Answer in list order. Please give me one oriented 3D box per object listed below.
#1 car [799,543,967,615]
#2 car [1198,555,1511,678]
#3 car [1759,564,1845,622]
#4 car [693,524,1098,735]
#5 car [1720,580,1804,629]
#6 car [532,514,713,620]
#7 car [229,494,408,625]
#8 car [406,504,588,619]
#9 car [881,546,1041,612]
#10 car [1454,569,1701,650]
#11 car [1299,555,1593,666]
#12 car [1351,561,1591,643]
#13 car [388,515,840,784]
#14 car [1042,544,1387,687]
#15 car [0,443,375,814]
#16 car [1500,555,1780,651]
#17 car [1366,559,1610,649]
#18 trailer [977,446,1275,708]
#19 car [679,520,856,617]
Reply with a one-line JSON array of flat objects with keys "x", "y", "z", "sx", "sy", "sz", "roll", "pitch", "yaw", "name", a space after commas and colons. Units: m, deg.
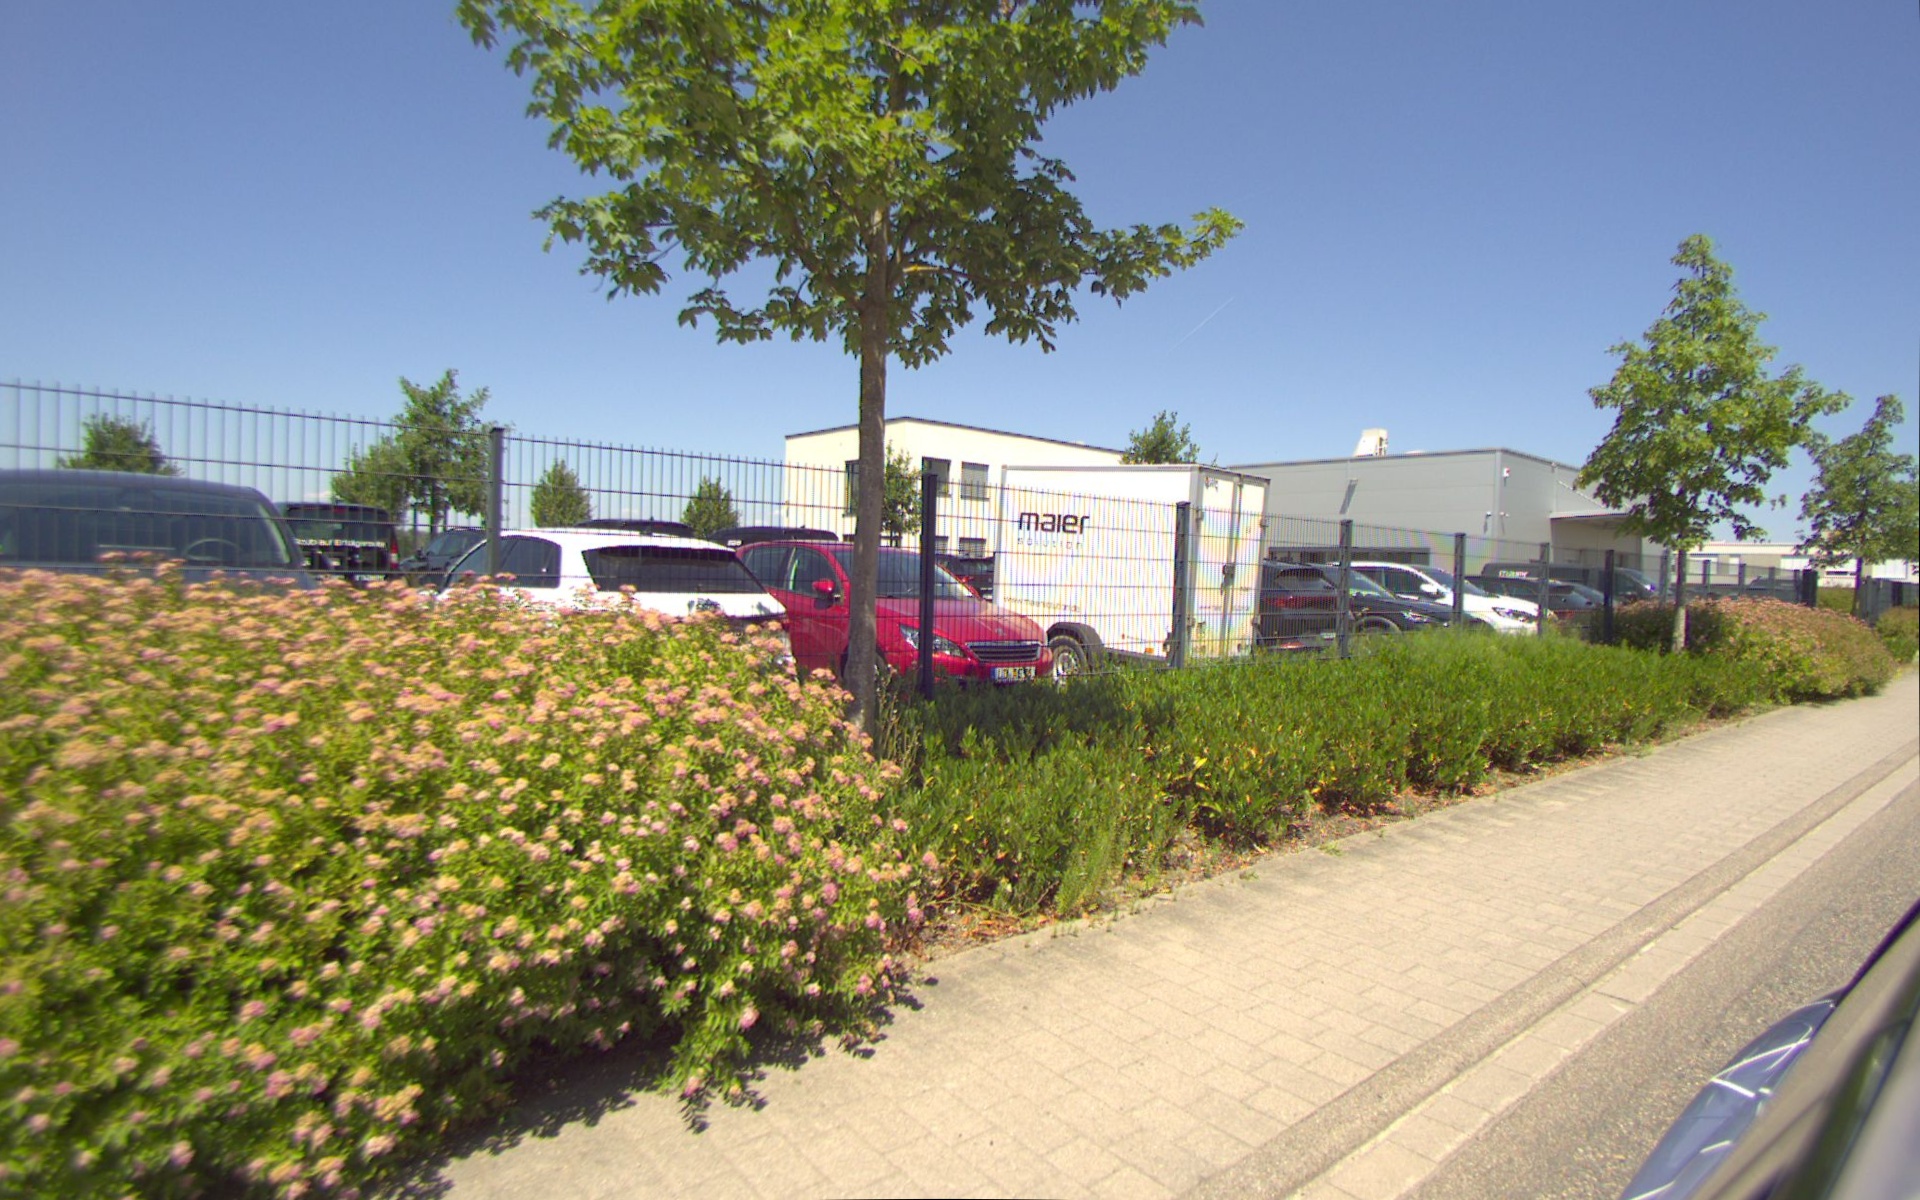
[{"x": -1.804, "y": -0.513, "z": 22.648, "sx": 1.693, "sy": 1.405, "sz": 4.051, "roll": 0, "pitch": 3, "yaw": -40, "name": "car"}, {"x": 5.812, "y": 0.144, "z": 15.298, "sx": 1.713, "sy": 1.509, "sz": 4.051, "roll": 0, "pitch": 3, "yaw": -40, "name": "car"}, {"x": 33.556, "y": -0.268, "z": 40.301, "sx": 4.151, "sy": 2.112, "sz": 1.881, "roll": 0, "pitch": 3, "yaw": -40, "name": "car"}, {"x": -0.788, "y": 0.105, "z": 9.456, "sx": 1.774, "sy": 1.493, "sz": 3.901, "roll": 0, "pitch": 4, "yaw": -40, "name": "car"}, {"x": 28.319, "y": 0.139, "z": 35.699, "sx": 3.811, "sy": 1.575, "sz": 1.546, "roll": 0, "pitch": 2, "yaw": -40, "name": "car"}, {"x": -6.501, "y": -0.672, "z": 19.241, "sx": 1.885, "sy": 1.785, "sz": 4.050, "roll": 0, "pitch": 3, "yaw": -40, "name": "car"}, {"x": -10.354, "y": -0.675, "z": 16.201, "sx": 1.885, "sy": 1.828, "sz": 4.050, "roll": 0, "pitch": 3, "yaw": -40, "name": "car"}, {"x": -8.266, "y": -0.707, "z": 17.874, "sx": 1.885, "sy": 1.785, "sz": 4.050, "roll": 0, "pitch": 3, "yaw": -40, "name": "car"}, {"x": -0.052, "y": -0.541, "z": 24.203, "sx": 1.693, "sy": 1.405, "sz": 3.915, "roll": 0, "pitch": 3, "yaw": -40, "name": "car"}, {"x": 13.514, "y": 0.137, "z": 22.384, "sx": 1.574, "sy": 1.467, "sz": 4.355, "roll": 0, "pitch": 3, "yaw": -40, "name": "car"}, {"x": 7.953, "y": 0.086, "z": 16.851, "sx": 1.790, "sy": 1.540, "sz": 3.996, "roll": 0, "pitch": 3, "yaw": -40, "name": "car"}, {"x": 10.972, "y": -0.026, "z": 21.990, "sx": 1.724, "sy": 1.462, "sz": 4.289, "roll": 0, "pitch": 3, "yaw": -40, "name": "car"}, {"x": -2.785, "y": 0.158, "z": 7.609, "sx": 1.776, "sy": 1.457, "sz": 3.846, "roll": 0, "pitch": 4, "yaw": -43, "name": "car"}, {"x": 3.192, "y": 0.091, "z": 13.351, "sx": 1.885, "sy": 1.522, "sz": 4.050, "roll": 0, "pitch": 3, "yaw": -40, "name": "car"}, {"x": -5.186, "y": -0.015, "z": 6.458, "sx": 1.776, "sy": 1.639, "sz": 4.263, "roll": 0, "pitch": 4, "yaw": -40, "name": "car"}, {"x": 15.933, "y": -0.026, "z": 23.992, "sx": 1.869, "sy": 1.896, "sz": 5.126, "roll": 0, "pitch": 3, "yaw": -40, "name": "car"}, {"x": 9.734, "y": 0.015, "z": 18.861, "sx": 1.615, "sy": 1.439, "sz": 3.673, "roll": 0, "pitch": 3, "yaw": -40, "name": "car"}, {"x": 1.708, "y": -0.301, "z": 10.930, "sx": 1.396, "sy": 2.432, "sz": 2.826, "roll": 0, "pitch": 3, "yaw": -44, "name": "trailer"}, {"x": -4.120, "y": -0.708, "z": 21.205, "sx": 1.885, "sy": 1.822, "sz": 4.050, "roll": 0, "pitch": 3, "yaw": -40, "name": "car"}]
